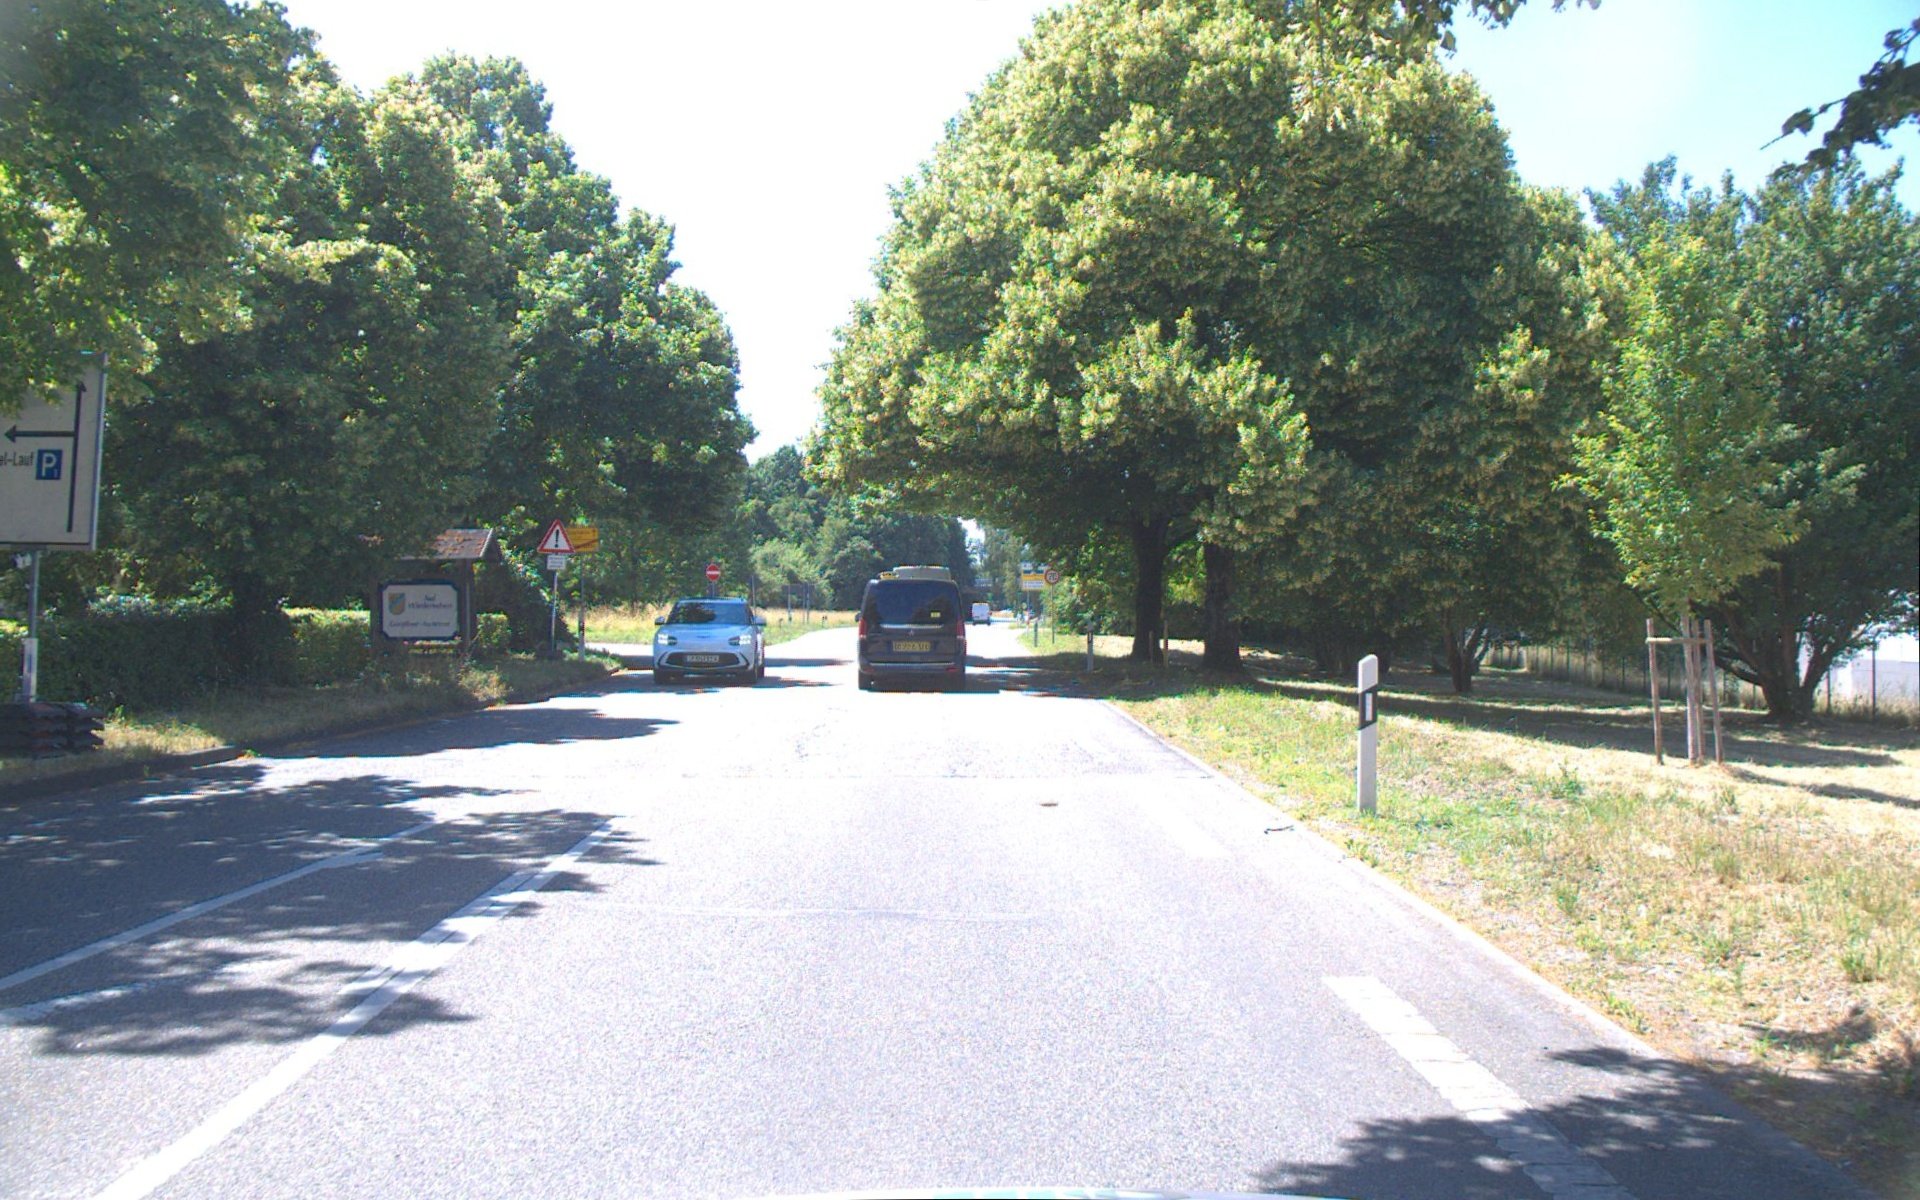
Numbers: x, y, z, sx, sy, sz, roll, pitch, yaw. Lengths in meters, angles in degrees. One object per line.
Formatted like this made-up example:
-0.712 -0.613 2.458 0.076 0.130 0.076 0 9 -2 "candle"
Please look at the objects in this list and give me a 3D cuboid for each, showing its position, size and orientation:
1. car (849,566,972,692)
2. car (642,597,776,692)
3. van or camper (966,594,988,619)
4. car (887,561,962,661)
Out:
-0.852 0.488 29.366 1.953 1.987 5.003 2 -1 -1 "car"
-4.701 0.805 31.580 2.052 1.616 4.472 2 0 -3 "car"
2.012 0.813 199.158 2.578 2.980 5.205 1 -1 -1 "van or camper"
-1.059 0.332 48.716 2.036 2.750 4.664 2 -1 -1 "car"
